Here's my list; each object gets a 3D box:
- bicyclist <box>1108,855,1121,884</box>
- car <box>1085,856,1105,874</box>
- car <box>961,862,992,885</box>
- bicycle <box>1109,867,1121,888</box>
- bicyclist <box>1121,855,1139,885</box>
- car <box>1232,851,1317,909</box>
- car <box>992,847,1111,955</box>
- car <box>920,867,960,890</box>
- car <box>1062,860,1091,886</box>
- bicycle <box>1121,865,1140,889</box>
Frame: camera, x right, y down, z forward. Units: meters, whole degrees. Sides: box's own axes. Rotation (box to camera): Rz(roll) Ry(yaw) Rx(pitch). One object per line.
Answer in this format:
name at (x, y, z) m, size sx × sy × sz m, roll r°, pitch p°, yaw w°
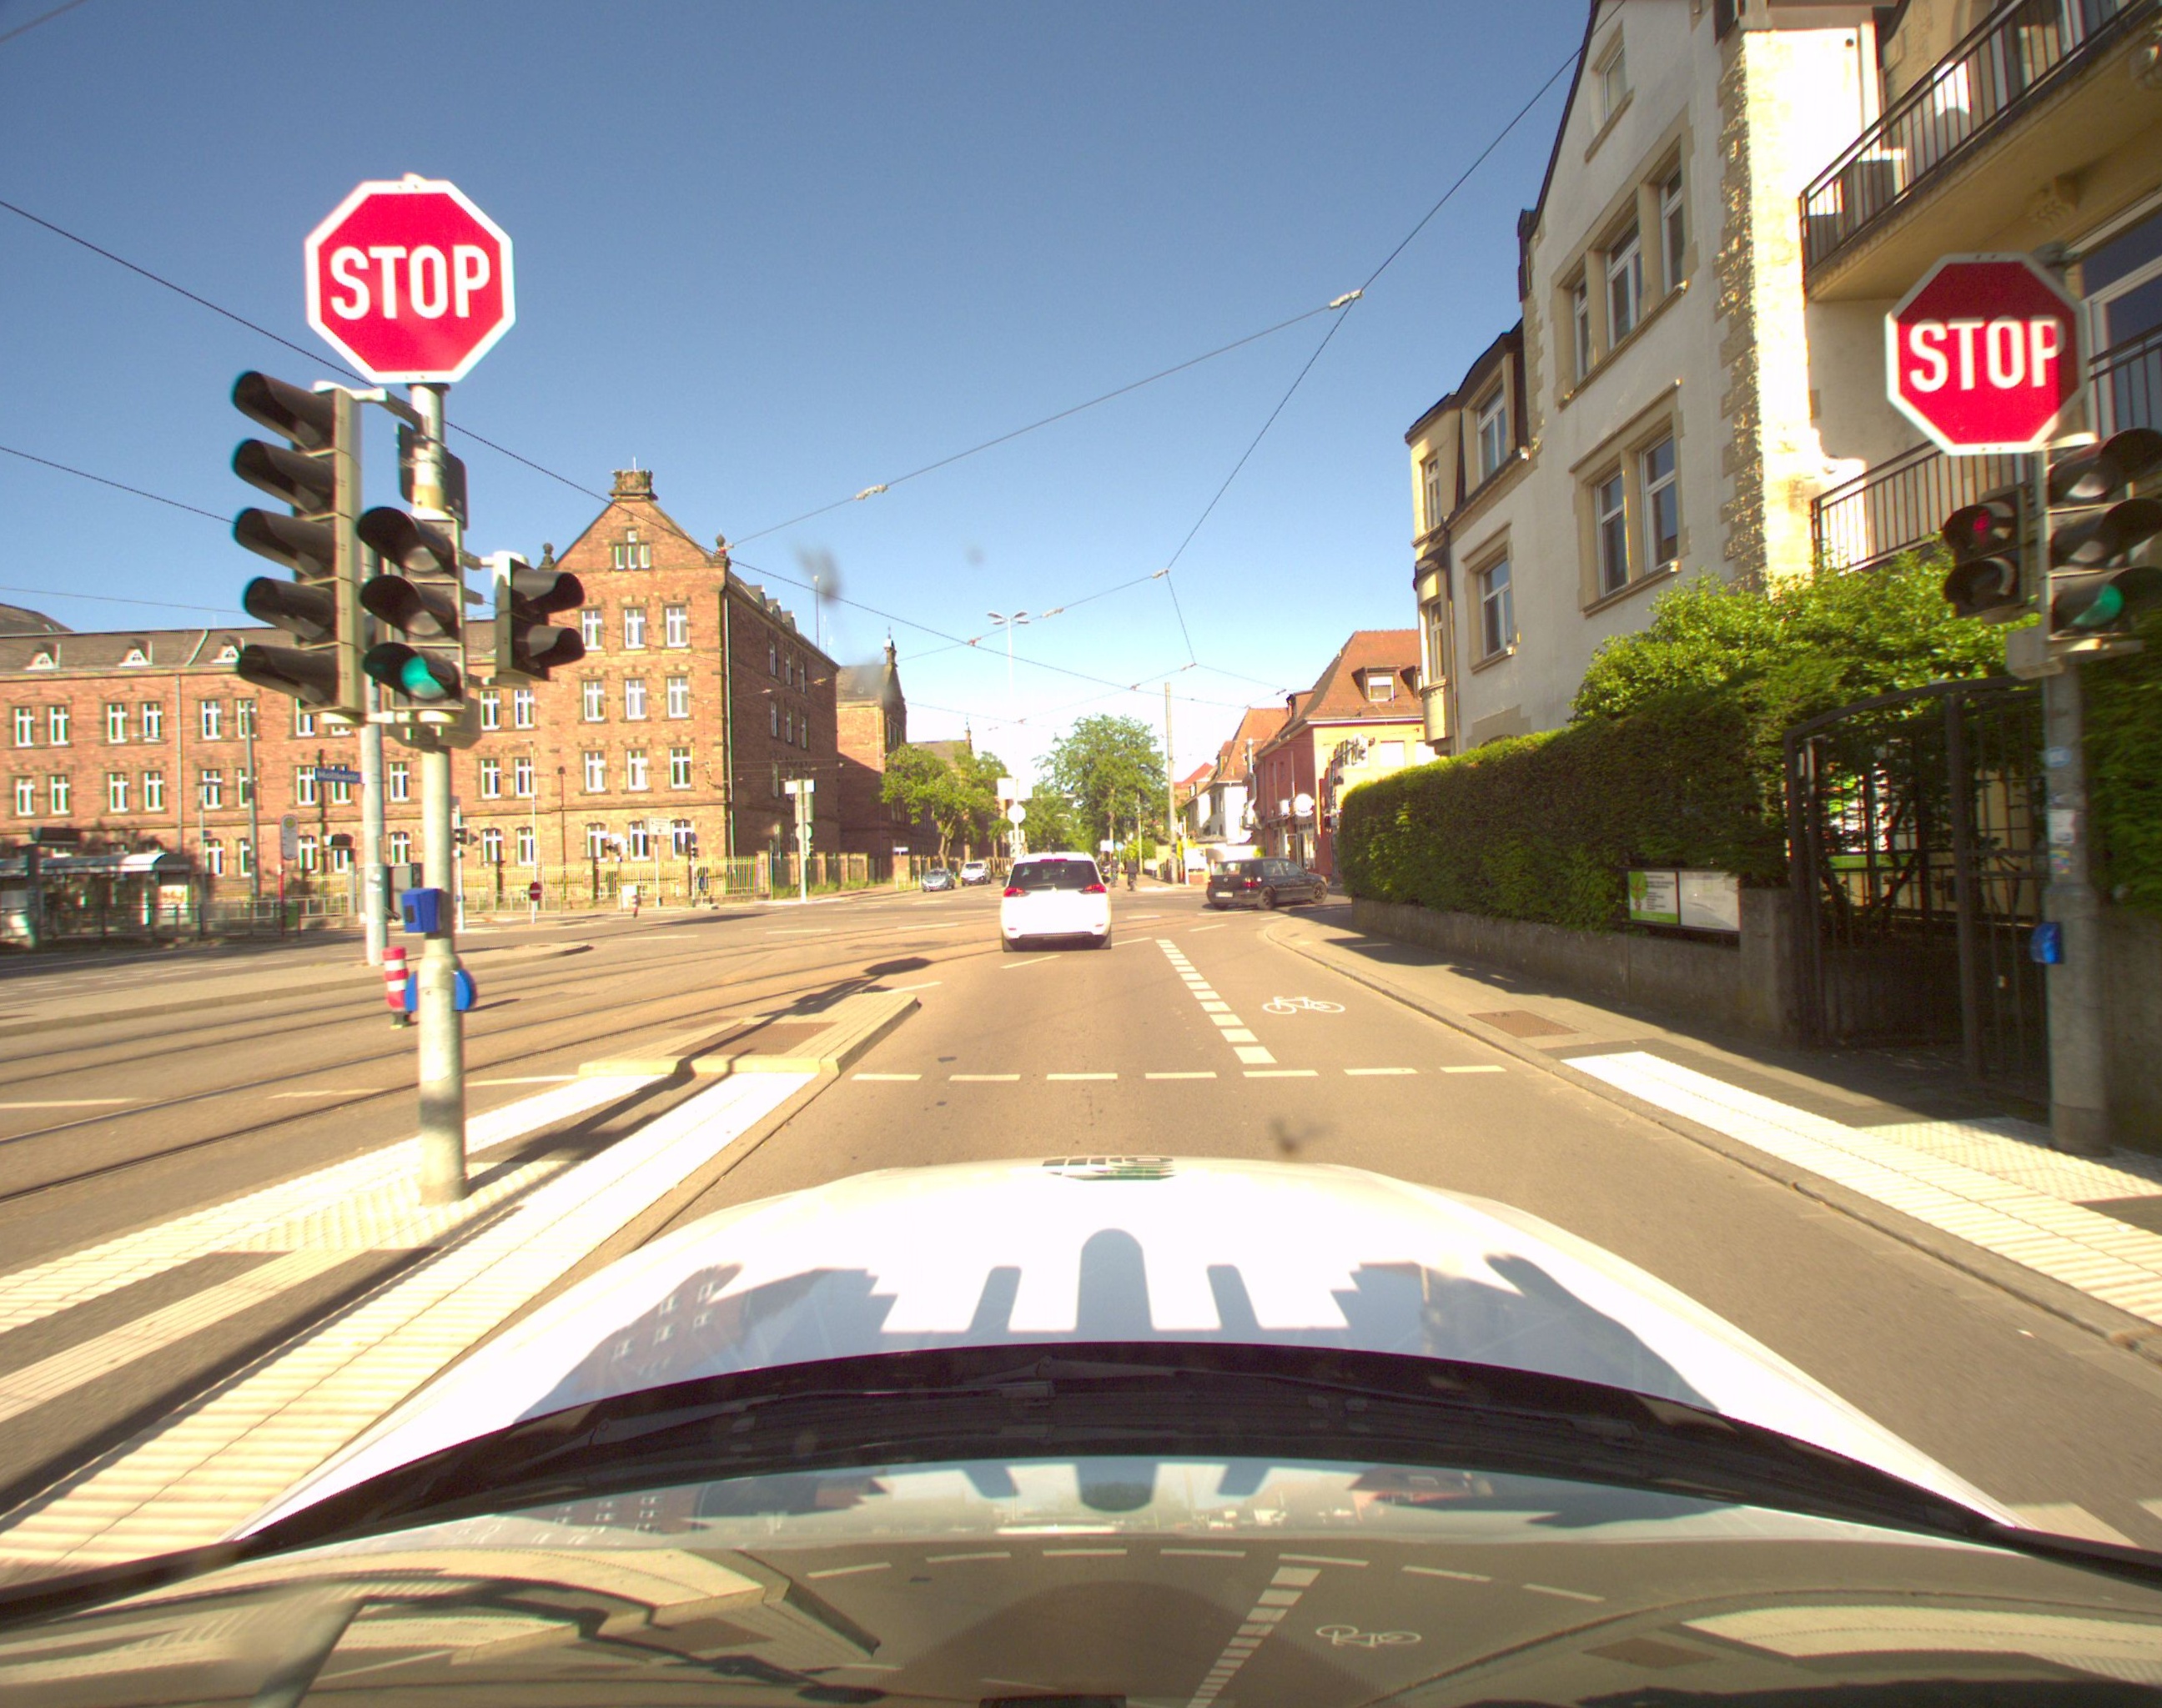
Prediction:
bicyclist at (1.957, 0.907, 47.083) m, size 0.682 × 1.634 × 1.016 m, roll -2°, pitch -1°, yaw 4°
car at (1.408, 1.082, 80.839) m, size 1.768 × 1.632 × 3.884 m, roll -2°, pitch -1°, yaw 4°
car at (-8.321, 1.526, 64.888) m, size 1.886 × 1.783 × 3.880 m, roll -1°, pitch -1°, yaw 0°
bicycle at (1.965, 1.347, 46.991) m, size 0.682 × 1.157 × 1.621 m, roll -1°, pitch -1°, yaw 4°
bicyclist at (2.471, 0.813, 40.996) m, size 0.818 × 1.501 × 0.934 m, roll -1°, pitch -1°, yaw 1°
car at (5.248, 0.666, 22.534) m, size 1.580 × 1.420 × 3.903 m, roll -2°, pitch 0°, yaw 3°
car at (-0.389, 0.757, 14.703) m, size 1.828 × 1.642 × 3.920 m, roll -1°, pitch -1°, yaw 2°
car at (-9.242, 1.585, 53.706) m, size 1.572 × 1.441 × 3.592 m, roll -2°, pitch -1°, yaw 7°
car at (-0.247, 1.224, 54.124) m, size 1.769 × 1.632 × 3.881 m, roll -1°, pitch -1°, yaw 1°
bicycle at (2.475, 1.161, 40.872) m, size 0.826 × 1.154 × 2.095 m, roll -1°, pitch -1°, yaw 1°
